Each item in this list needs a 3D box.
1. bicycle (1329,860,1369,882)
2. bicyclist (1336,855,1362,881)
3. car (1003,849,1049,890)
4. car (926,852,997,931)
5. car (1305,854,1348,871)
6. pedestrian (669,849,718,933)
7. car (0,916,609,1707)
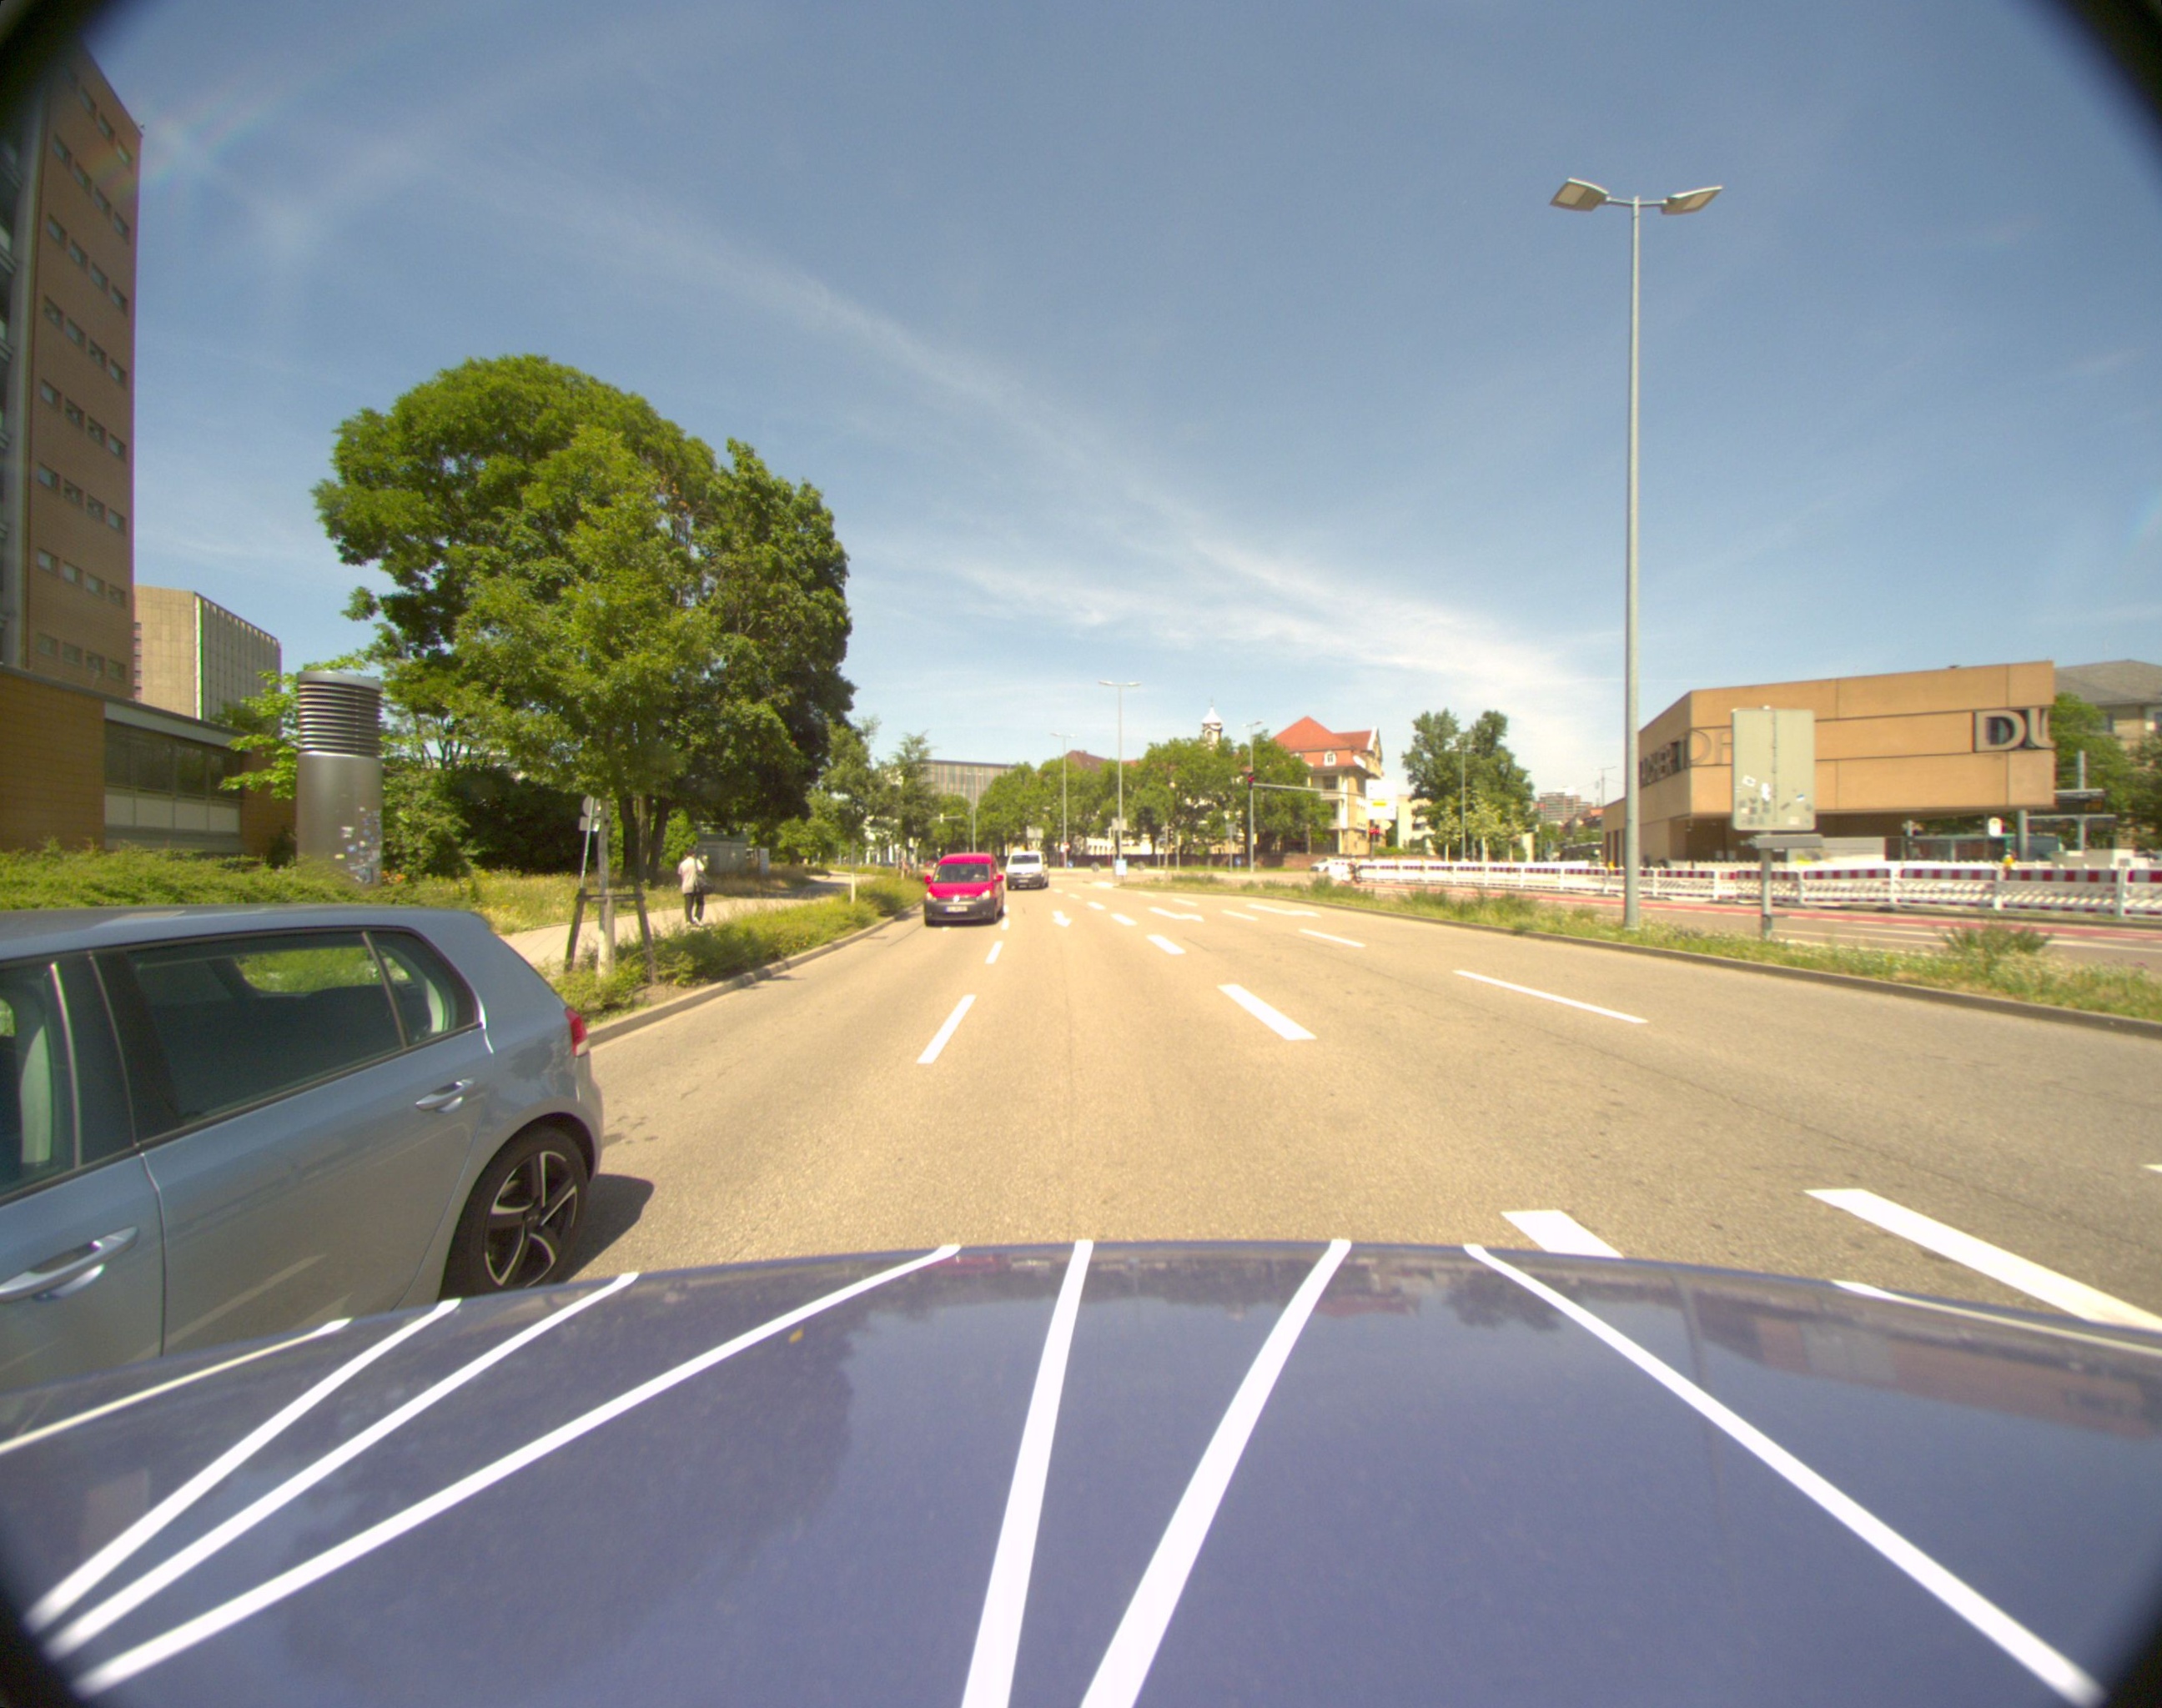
[{"bbox_3d":[14.104,0.891,40.117,0.879,1.066,2.229,-2,1,-14],"label":"bicycle"},{"bbox_3d":[14.167,0.736,40.179,0.587,1.348,1.438,-2,1,-14],"label":"bicyclist"},{"bbox_3d":[-2.980,0.768,40.084,1.973,1.958,4.845,-2,0,-9],"label":"car"},{"bbox_3d":[-3.111,0.897,20.458,1.656,1.848,4.543,-1,0,-6],"label":"car"},{"bbox_3d":[22.734,0.772,70.428,3.645,1.455,1.787,0,0,-30],"label":"car"},{"bbox_3d":[-8.467,0.792,16.616,0.728,1.787,0.614,0,0,1],"label":"pedestrian"},{"bbox_3d":[-2.760,0.995,1.087,1.655,1.450,4.003,-2,0,-1],"label":"car"}]
